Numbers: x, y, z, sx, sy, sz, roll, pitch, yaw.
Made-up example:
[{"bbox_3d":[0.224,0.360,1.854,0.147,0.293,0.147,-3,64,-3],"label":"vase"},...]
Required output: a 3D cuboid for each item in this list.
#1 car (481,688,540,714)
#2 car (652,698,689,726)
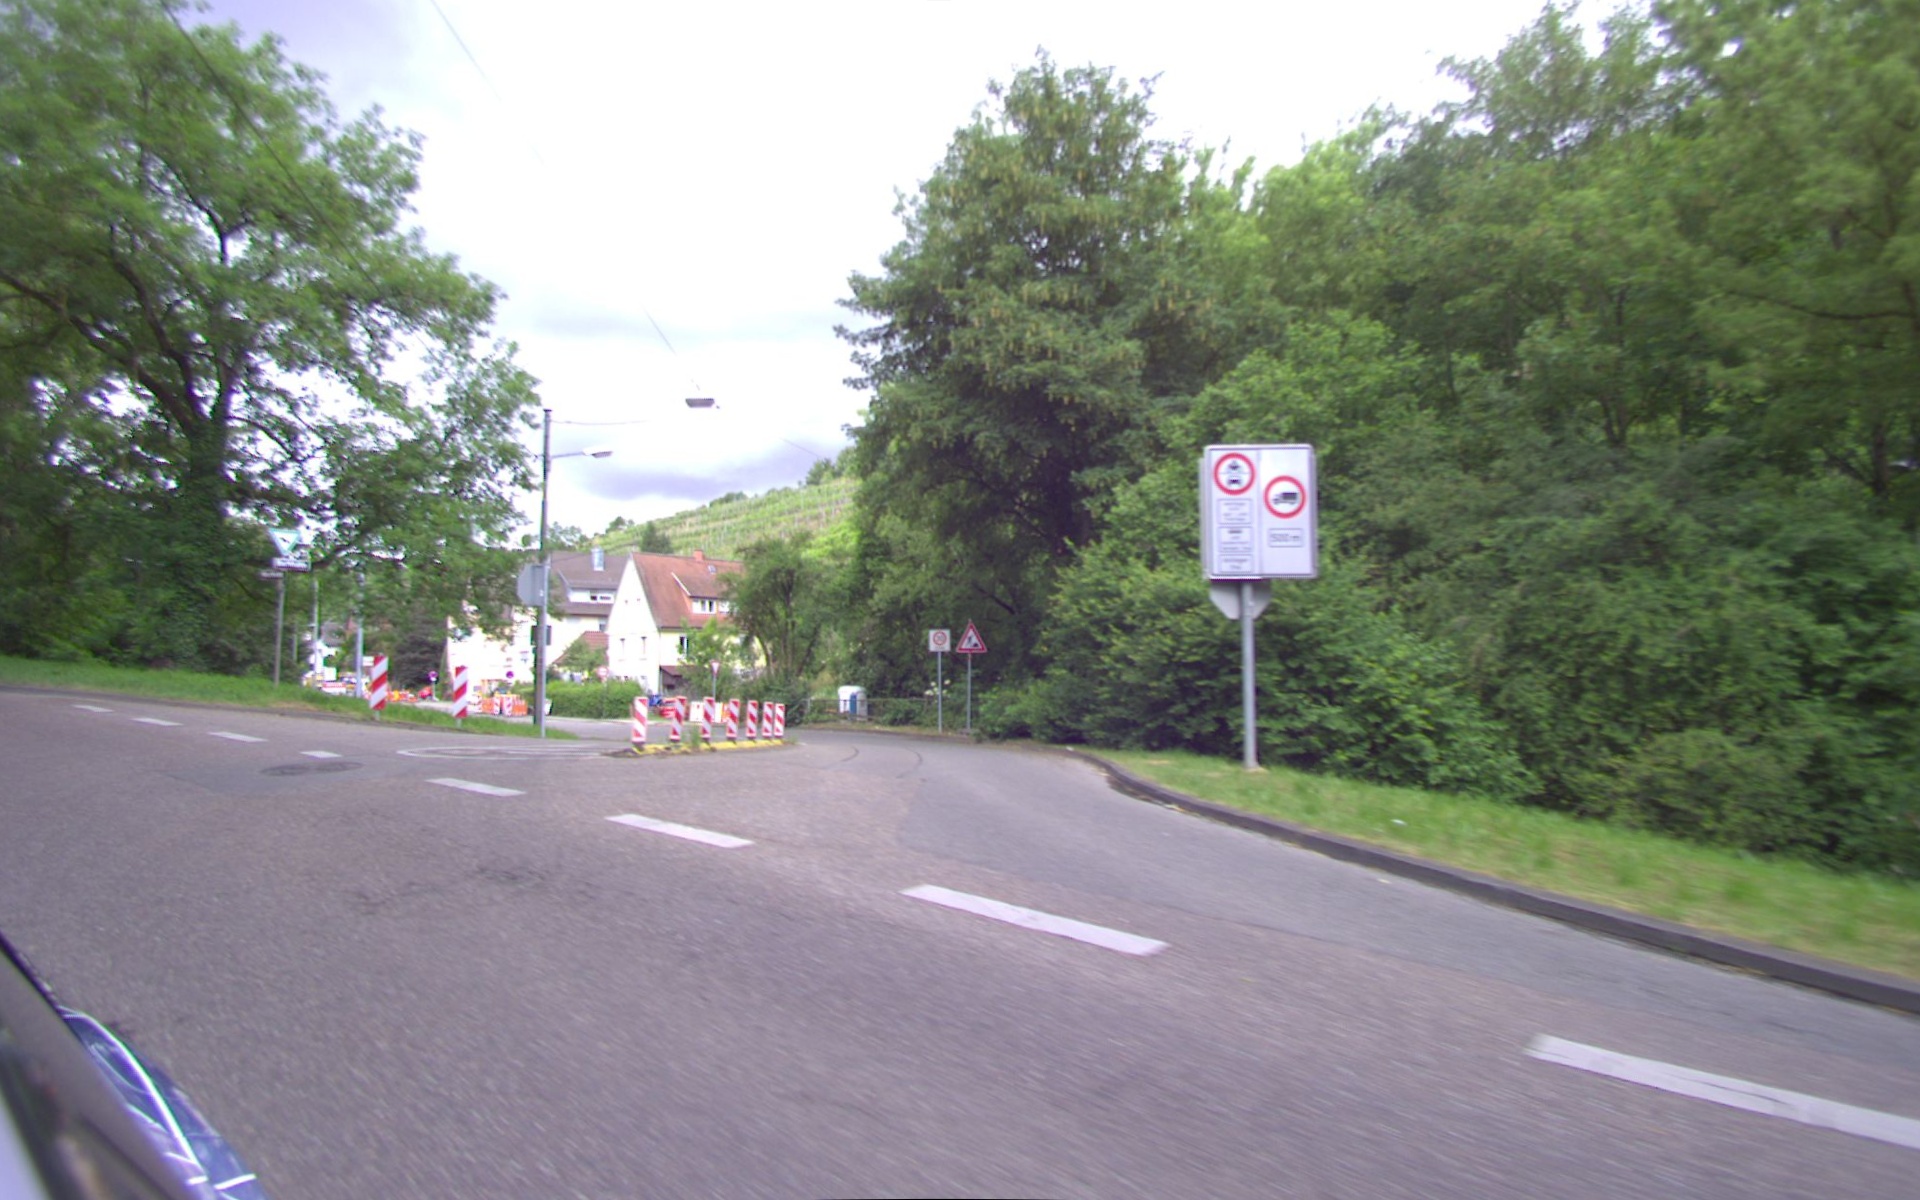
[{"bbox_3d":[-34.874,7.822,78.586,3.791,1.896,1.722,3,-5,-43],"label":"car"},{"bbox_3d":[-16.810,6.462,58.675,1.727,1.400,4.012,8,-8,-18],"label":"car"}]
